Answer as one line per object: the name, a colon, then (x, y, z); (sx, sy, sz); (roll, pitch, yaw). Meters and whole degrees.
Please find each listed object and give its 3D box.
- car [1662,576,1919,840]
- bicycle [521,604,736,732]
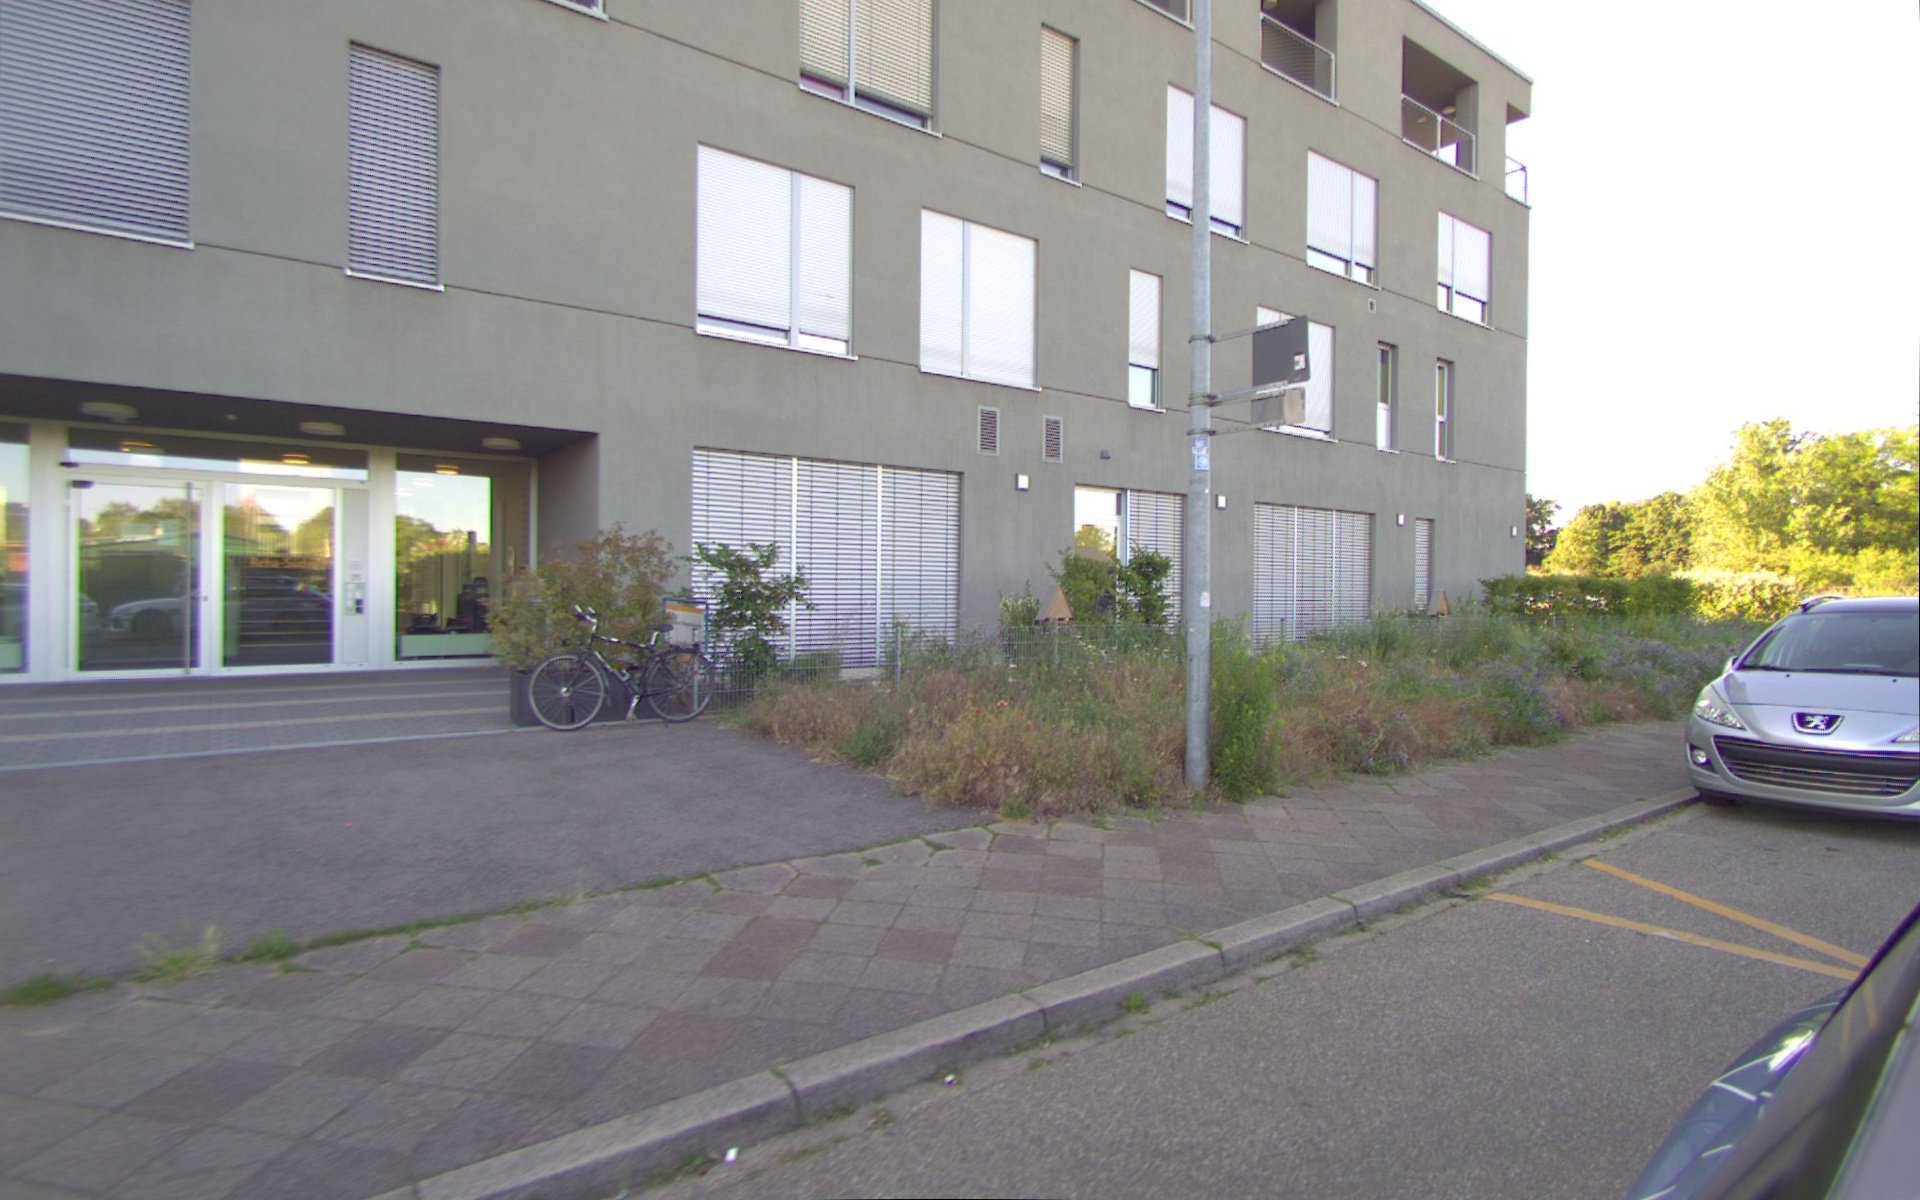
car: (7.010, 0.625, 7.504); (4.077, 1.546, 1.712); (0, 0, -36)
bicycle: (-3.038, 0.584, 9.358); (1.806, 1.074, 0.554); (0, 0, -33)
